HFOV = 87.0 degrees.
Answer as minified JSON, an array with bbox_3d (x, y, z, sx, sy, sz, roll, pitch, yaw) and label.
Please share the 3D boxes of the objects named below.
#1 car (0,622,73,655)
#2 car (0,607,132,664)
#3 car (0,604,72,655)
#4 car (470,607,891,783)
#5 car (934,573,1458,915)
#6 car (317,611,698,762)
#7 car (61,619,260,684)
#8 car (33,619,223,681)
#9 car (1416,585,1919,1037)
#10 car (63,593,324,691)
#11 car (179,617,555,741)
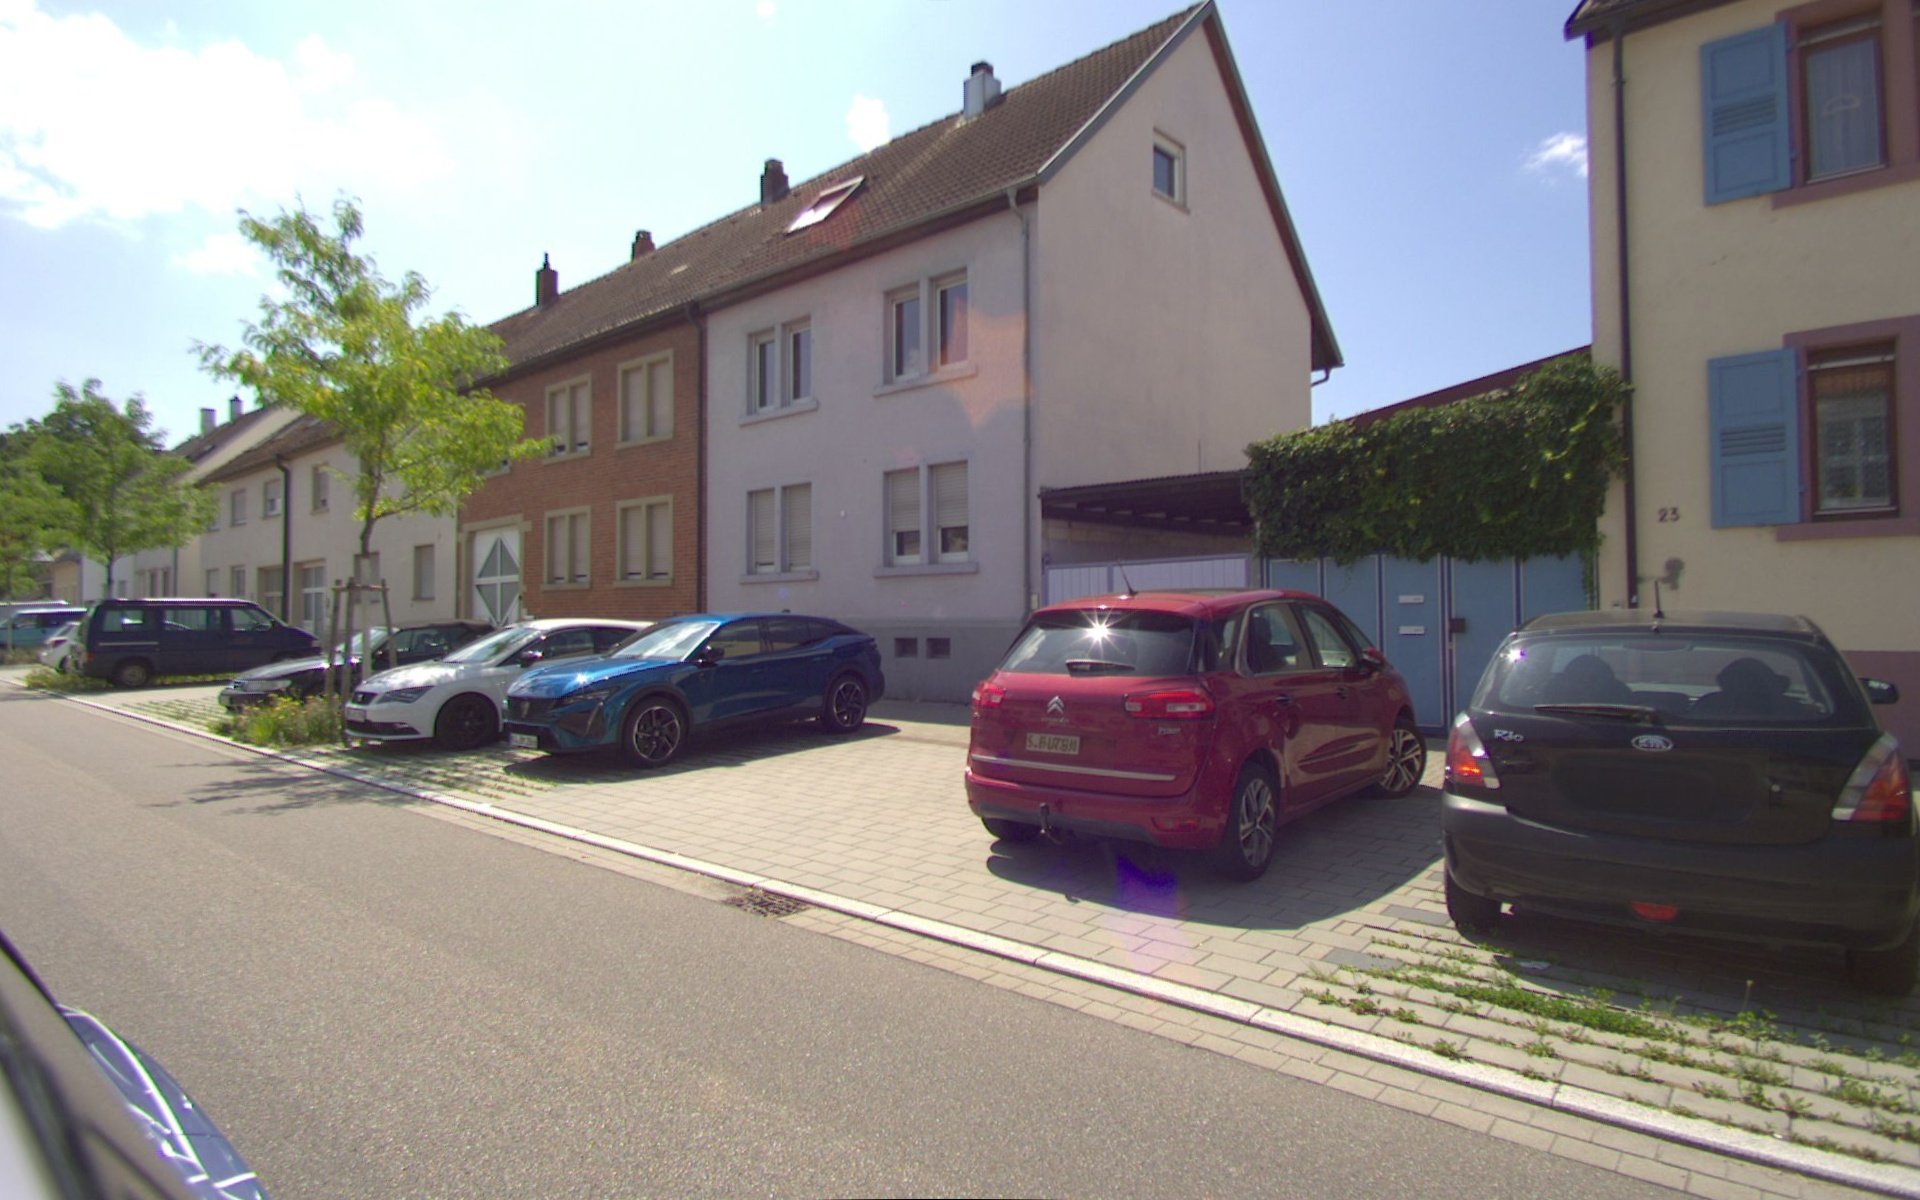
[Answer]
[{"bbox_3d":[-42.946,1.752,45.986,1.725,1.396,3.744,-1,1,41],"label":"car"},{"bbox_3d":[-33.728,1.282,37.342,1.999,1.921,4.628,-1,1,41],"label":"car"},{"bbox_3d":[-45.929,1.435,48.236,2.155,2.305,5.116,-1,0,38],"label":"car"},{"bbox_3d":[-2.872,0.874,11.297,1.773,1.489,4.363,-1,0,37],"label":"car"},{"bbox_3d":[1.900,0.671,7.026,1.841,1.623,4.210,-1,0,40],"label":"car"},{"bbox_3d":[-5.498,0.935,12.718,1.773,1.489,4.015,-1,0,38],"label":"car"},{"bbox_3d":[-21.001,1.293,26.685,1.772,1.500,3.874,-1,0,42],"label":"car"},{"bbox_3d":[-23.109,1.341,28.212,1.772,1.500,3.874,-1,0,42],"label":"car"},{"bbox_3d":[3.766,0.680,5.193,1.753,1.470,3.755,-1,0,38],"label":"car"},{"bbox_3d":[-17.693,0.891,23.541,1.953,2.011,4.563,-1,0,42],"label":"car"},{"bbox_3d":[-8.583,1.037,14.997,1.794,1.436,4.478,-1,0,40],"label":"car"}]
